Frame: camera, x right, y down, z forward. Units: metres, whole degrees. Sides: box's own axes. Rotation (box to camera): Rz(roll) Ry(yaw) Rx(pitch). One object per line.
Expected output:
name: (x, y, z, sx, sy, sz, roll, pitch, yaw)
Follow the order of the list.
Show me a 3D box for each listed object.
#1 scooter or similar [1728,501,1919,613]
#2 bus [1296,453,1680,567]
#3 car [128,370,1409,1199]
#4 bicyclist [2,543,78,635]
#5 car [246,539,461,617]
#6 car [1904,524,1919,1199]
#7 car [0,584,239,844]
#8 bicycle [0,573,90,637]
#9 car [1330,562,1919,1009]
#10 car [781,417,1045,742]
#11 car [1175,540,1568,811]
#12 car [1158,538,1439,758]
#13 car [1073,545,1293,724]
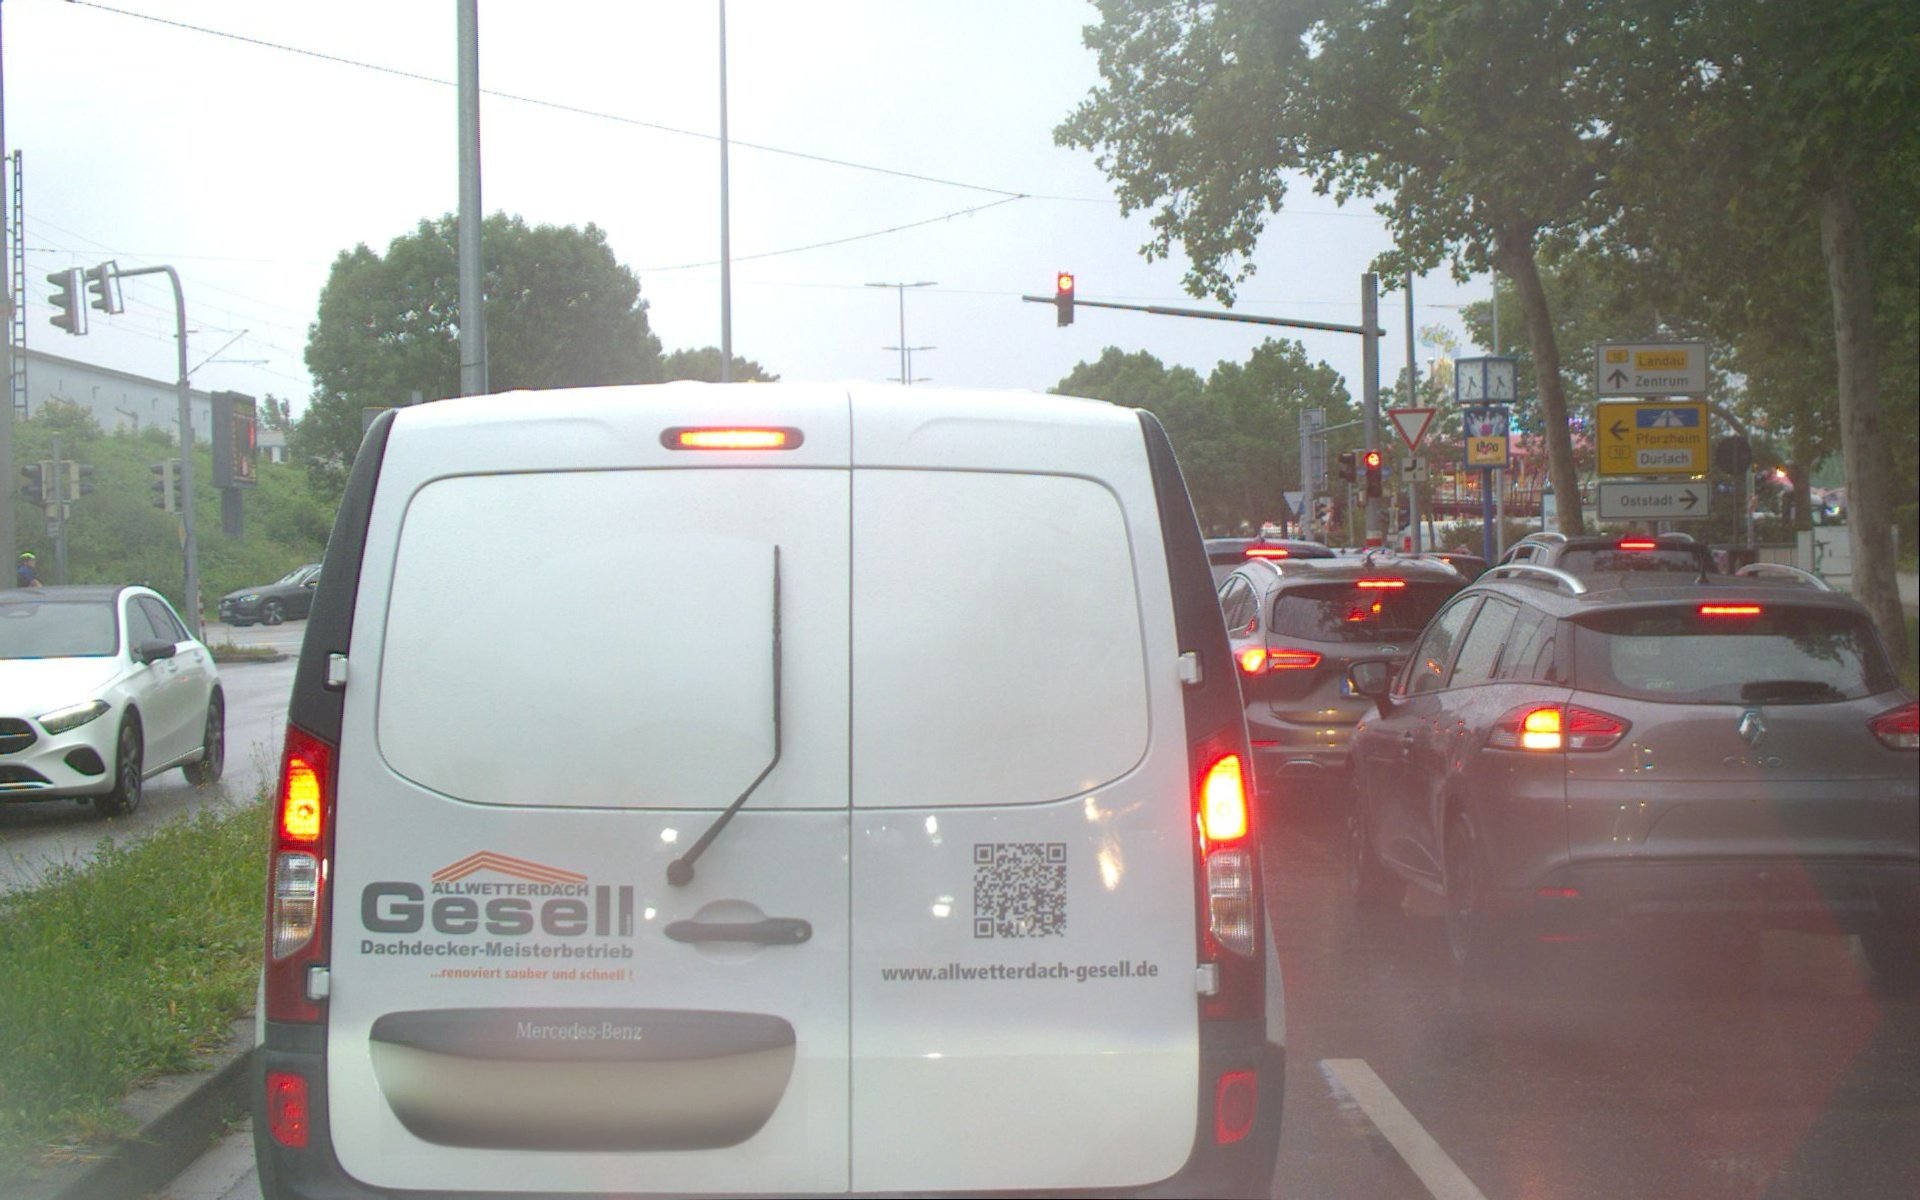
scooter or similar: (19.988, -0.981, 77.070, 1.890, 2.437, 5.316, -1, 1, -41)
bus: (16.963, -2.913, 110.884, 11.970, 3.411, 2.315, -1, 1, 0)
car: (-0.320, 0.481, 7.661, 1.993, 1.770, 4.585, 0, 1, -1)
bicyclist: (-14.857, -0.183, 55.534, 1.040, 1.445, 0.729, -2, 2, -25)
car: (-14.342, -0.536, 81.300, 4.866, 1.712, 1.814, -1, 2, -13)
car: (2.973, 0.649, 5.419, 1.747, 1.549, 4.091, 0, 1, -1)
car: (-6.020, 0.700, 22.506, 1.734, 1.514, 4.048, -3, 0, -1)
bicycle: (-14.873, 0.065, 55.559, 1.040, 0.949, 2.889, -2, 2, -25)
car: (2.513, 0.586, 13.114, 1.683, 1.403, 3.843, 1, 1, -1)
car: (-0.354, -0.187, 26.211, 1.854, 2.288, 3.843, 0, 1, -1)
car: (2.361, 0.376, 20.641, 1.854, 1.455, 3.843, 0, 1, -1)
car: (2.670, 0.325, 27.870, 1.854, 1.644, 3.843, 0, 1, -1)
car: (2.113, 0.298, 33.533, 1.854, 1.644, 3.843, 0, 1, -1)
